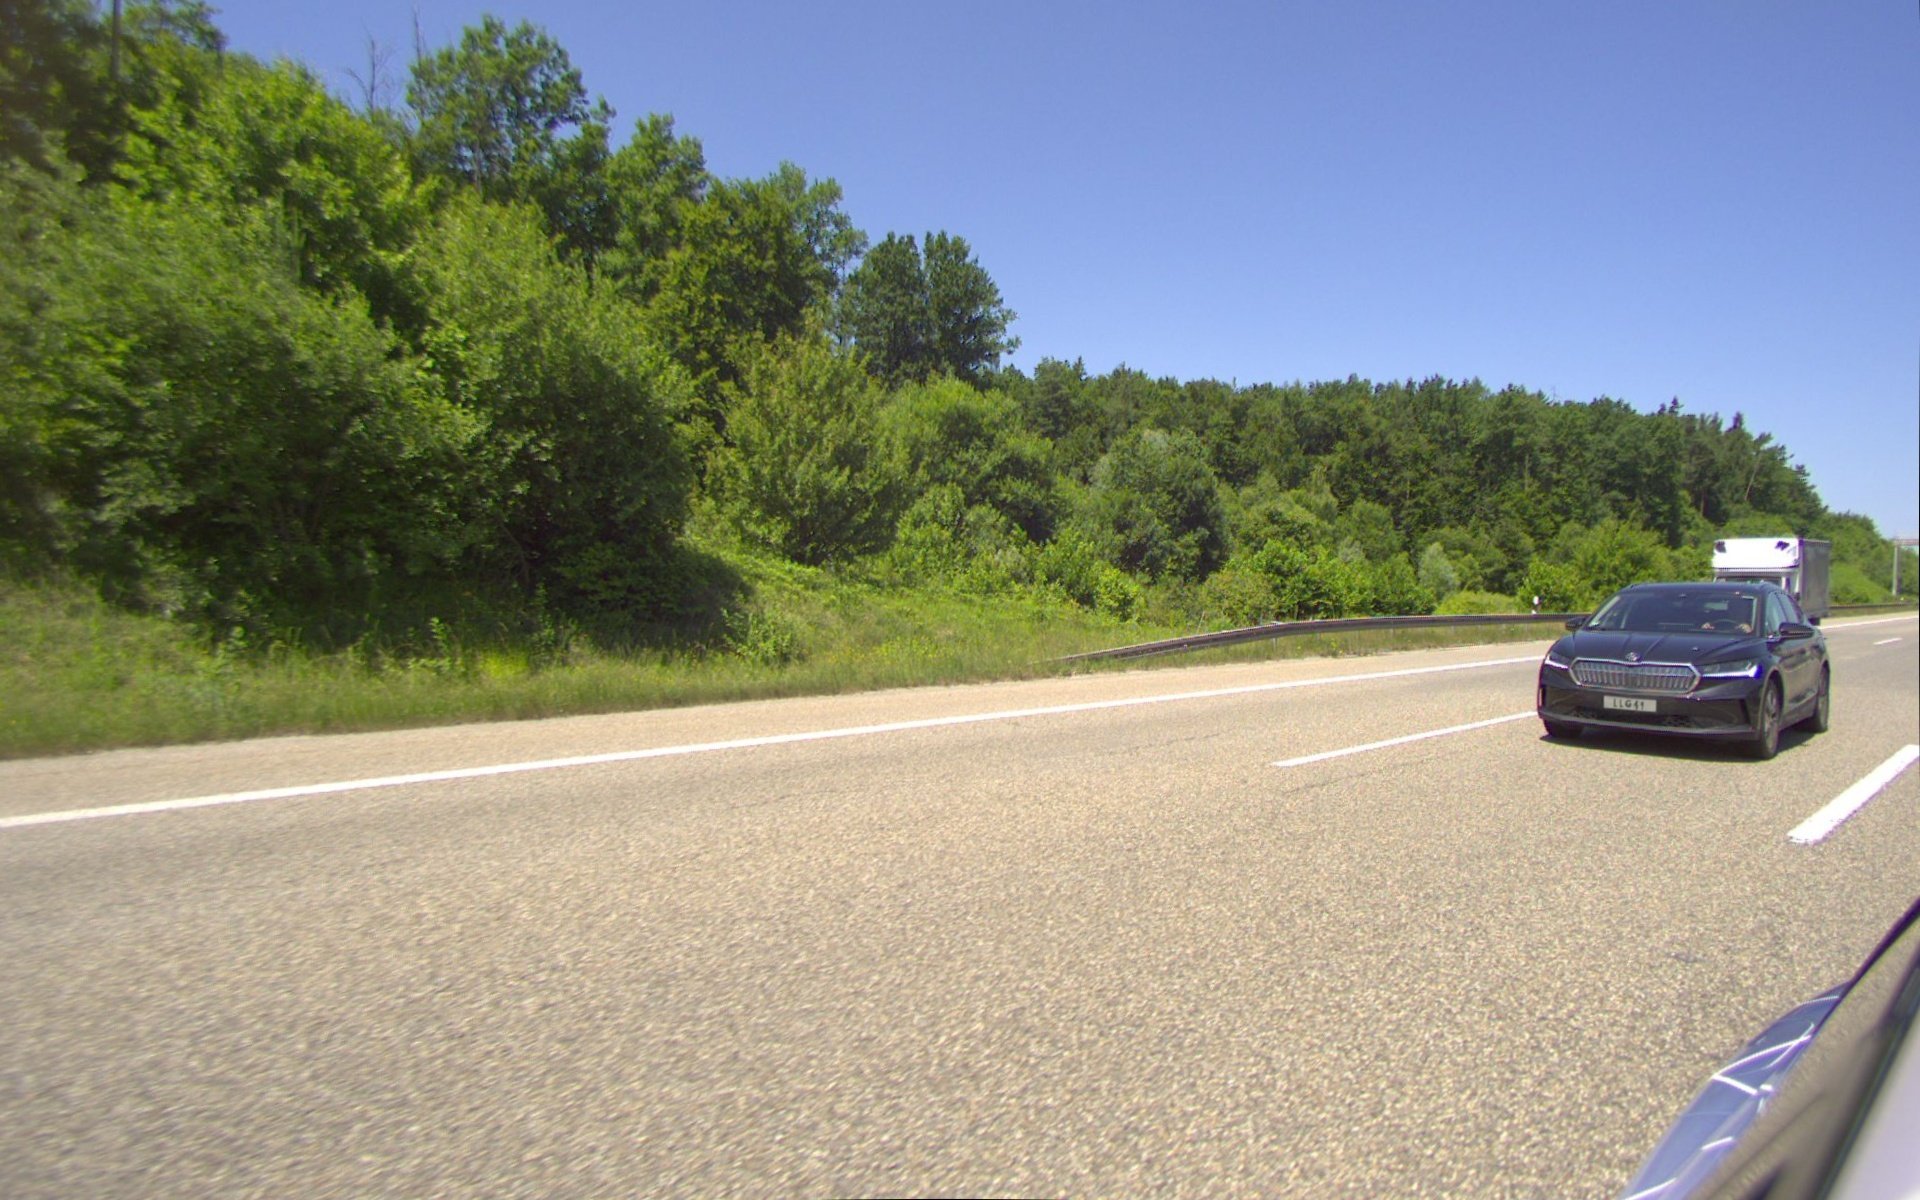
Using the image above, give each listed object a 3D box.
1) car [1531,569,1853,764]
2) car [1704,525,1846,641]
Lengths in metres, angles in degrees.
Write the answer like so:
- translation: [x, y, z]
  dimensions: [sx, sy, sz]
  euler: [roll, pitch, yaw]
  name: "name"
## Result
- translation: [7.888, 0.516, 10.736]
  dimensions: [4.383, 1.639, 1.987]
  euler: [-1, 1, -43]
  name: "car"
- translation: [26.485, -0.541, 32.754]
  dimensions: [7.490, 3.378, 2.301]
  euler: [-1, 1, -41]
  name: "car"
